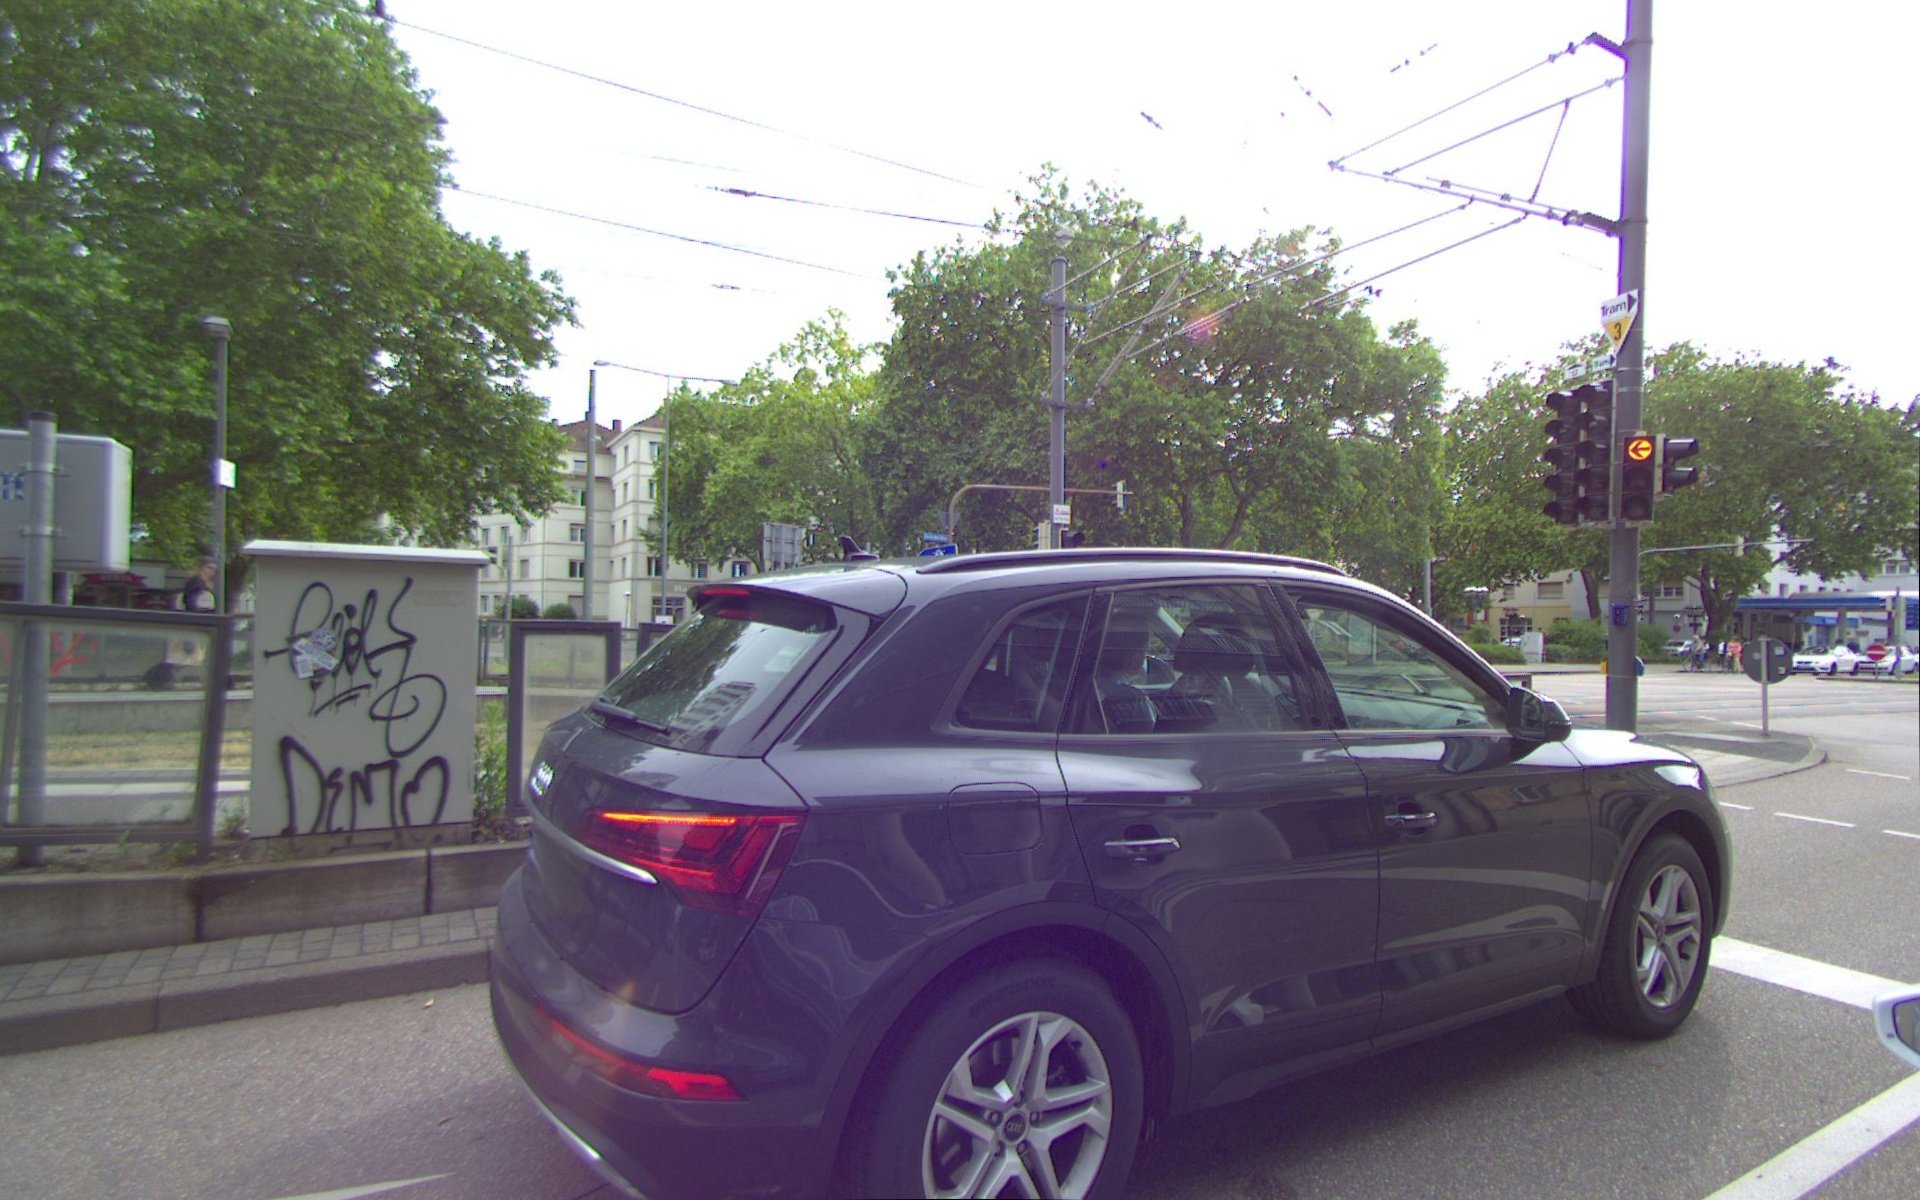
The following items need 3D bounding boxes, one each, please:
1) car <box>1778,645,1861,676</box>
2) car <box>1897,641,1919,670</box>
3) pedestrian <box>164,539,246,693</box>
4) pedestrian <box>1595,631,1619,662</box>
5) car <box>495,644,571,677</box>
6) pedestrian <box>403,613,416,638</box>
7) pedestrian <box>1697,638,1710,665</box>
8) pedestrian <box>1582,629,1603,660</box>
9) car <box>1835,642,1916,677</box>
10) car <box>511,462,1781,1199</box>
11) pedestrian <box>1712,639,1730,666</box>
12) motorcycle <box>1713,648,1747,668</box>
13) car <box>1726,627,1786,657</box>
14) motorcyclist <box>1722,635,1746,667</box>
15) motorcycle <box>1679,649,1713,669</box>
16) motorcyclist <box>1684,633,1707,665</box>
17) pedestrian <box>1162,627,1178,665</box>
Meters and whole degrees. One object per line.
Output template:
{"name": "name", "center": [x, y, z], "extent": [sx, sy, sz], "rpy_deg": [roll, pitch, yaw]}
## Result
{"name": "car", "center": [41.358, 2.913, 48.323], "extent": [4.025, 1.338, 1.739], "rpy_deg": [2, 0, -29]}
{"name": "car", "center": [52.789, 3.038, 54.607], "extent": [3.593, 1.497, 1.649], "rpy_deg": [2, 0, -29]}
{"name": "pedestrian", "center": [-9.043, 0.188, 12.063], "extent": [0.658, 1.773, 0.732], "rpy_deg": [2, 0, -30]}
{"name": "pedestrian", "center": [36.551, 2.610, 56.759], "extent": [0.858, 1.735, 0.874], "rpy_deg": [1, -1, 5]}
{"name": "car", "center": [-24.088, 3.379, 56.710], "extent": [3.929, 1.706, 1.996], "rpy_deg": [0, -1, 31]}
{"name": "pedestrian", "center": [-44.635, 2.063, 81.448], "extent": [0.660, 2.040, 0.672], "rpy_deg": [2, 0, 40]}
{"name": "pedestrian", "center": [42.178, 2.918, 56.975], "extent": [0.421, 1.479, 0.474], "rpy_deg": [2, -1, -30]}
{"name": "pedestrian", "center": [35.734, 2.497, 56.744], "extent": [0.677, 1.735, 0.870], "rpy_deg": [1, -1, 6]}
{"name": "car", "center": [46.986, 3.027, 51.524], "extent": [3.953, 1.615, 1.984], "rpy_deg": [2, 0, -30]}
{"name": "car", "center": [0.836, 0.654, 3.460], "extent": [4.177, 1.658, 1.725], "rpy_deg": [2, 0, -30]}
{"name": "pedestrian", "center": [42.787, 2.945, 56.503], "extent": [0.550, 1.499, 0.644], "rpy_deg": [2, -1, -30]}
{"name": "motorcycle", "center": [36.987, 2.790, 48.235], "extent": [1.928, 0.941, 0.604], "rpy_deg": [2, -1, -30]}
{"name": "car", "center": [55.027, 2.897, 69.409], "extent": [3.953, 2.040, 1.984], "rpy_deg": [2, -1, -30]}
{"name": "motorcyclist", "center": [37.309, 2.448, 48.409], "extent": [0.863, 1.540, 0.617], "rpy_deg": [2, -1, -30]}
{"name": "motorcycle", "center": [35.904, 2.865, 48.970], "extent": [1.928, 0.941, 0.604], "rpy_deg": [2, -1, -30]}
{"name": "motorcyclist", "center": [35.876, 2.396, 49.005], "extent": [0.863, 1.540, 0.617], "rpy_deg": [2, -1, -30]}
{"name": "pedestrian", "center": [8.528, 1.869, 40.783], "extent": [0.643, 1.530, 0.684], "rpy_deg": [1, -1, 12]}
